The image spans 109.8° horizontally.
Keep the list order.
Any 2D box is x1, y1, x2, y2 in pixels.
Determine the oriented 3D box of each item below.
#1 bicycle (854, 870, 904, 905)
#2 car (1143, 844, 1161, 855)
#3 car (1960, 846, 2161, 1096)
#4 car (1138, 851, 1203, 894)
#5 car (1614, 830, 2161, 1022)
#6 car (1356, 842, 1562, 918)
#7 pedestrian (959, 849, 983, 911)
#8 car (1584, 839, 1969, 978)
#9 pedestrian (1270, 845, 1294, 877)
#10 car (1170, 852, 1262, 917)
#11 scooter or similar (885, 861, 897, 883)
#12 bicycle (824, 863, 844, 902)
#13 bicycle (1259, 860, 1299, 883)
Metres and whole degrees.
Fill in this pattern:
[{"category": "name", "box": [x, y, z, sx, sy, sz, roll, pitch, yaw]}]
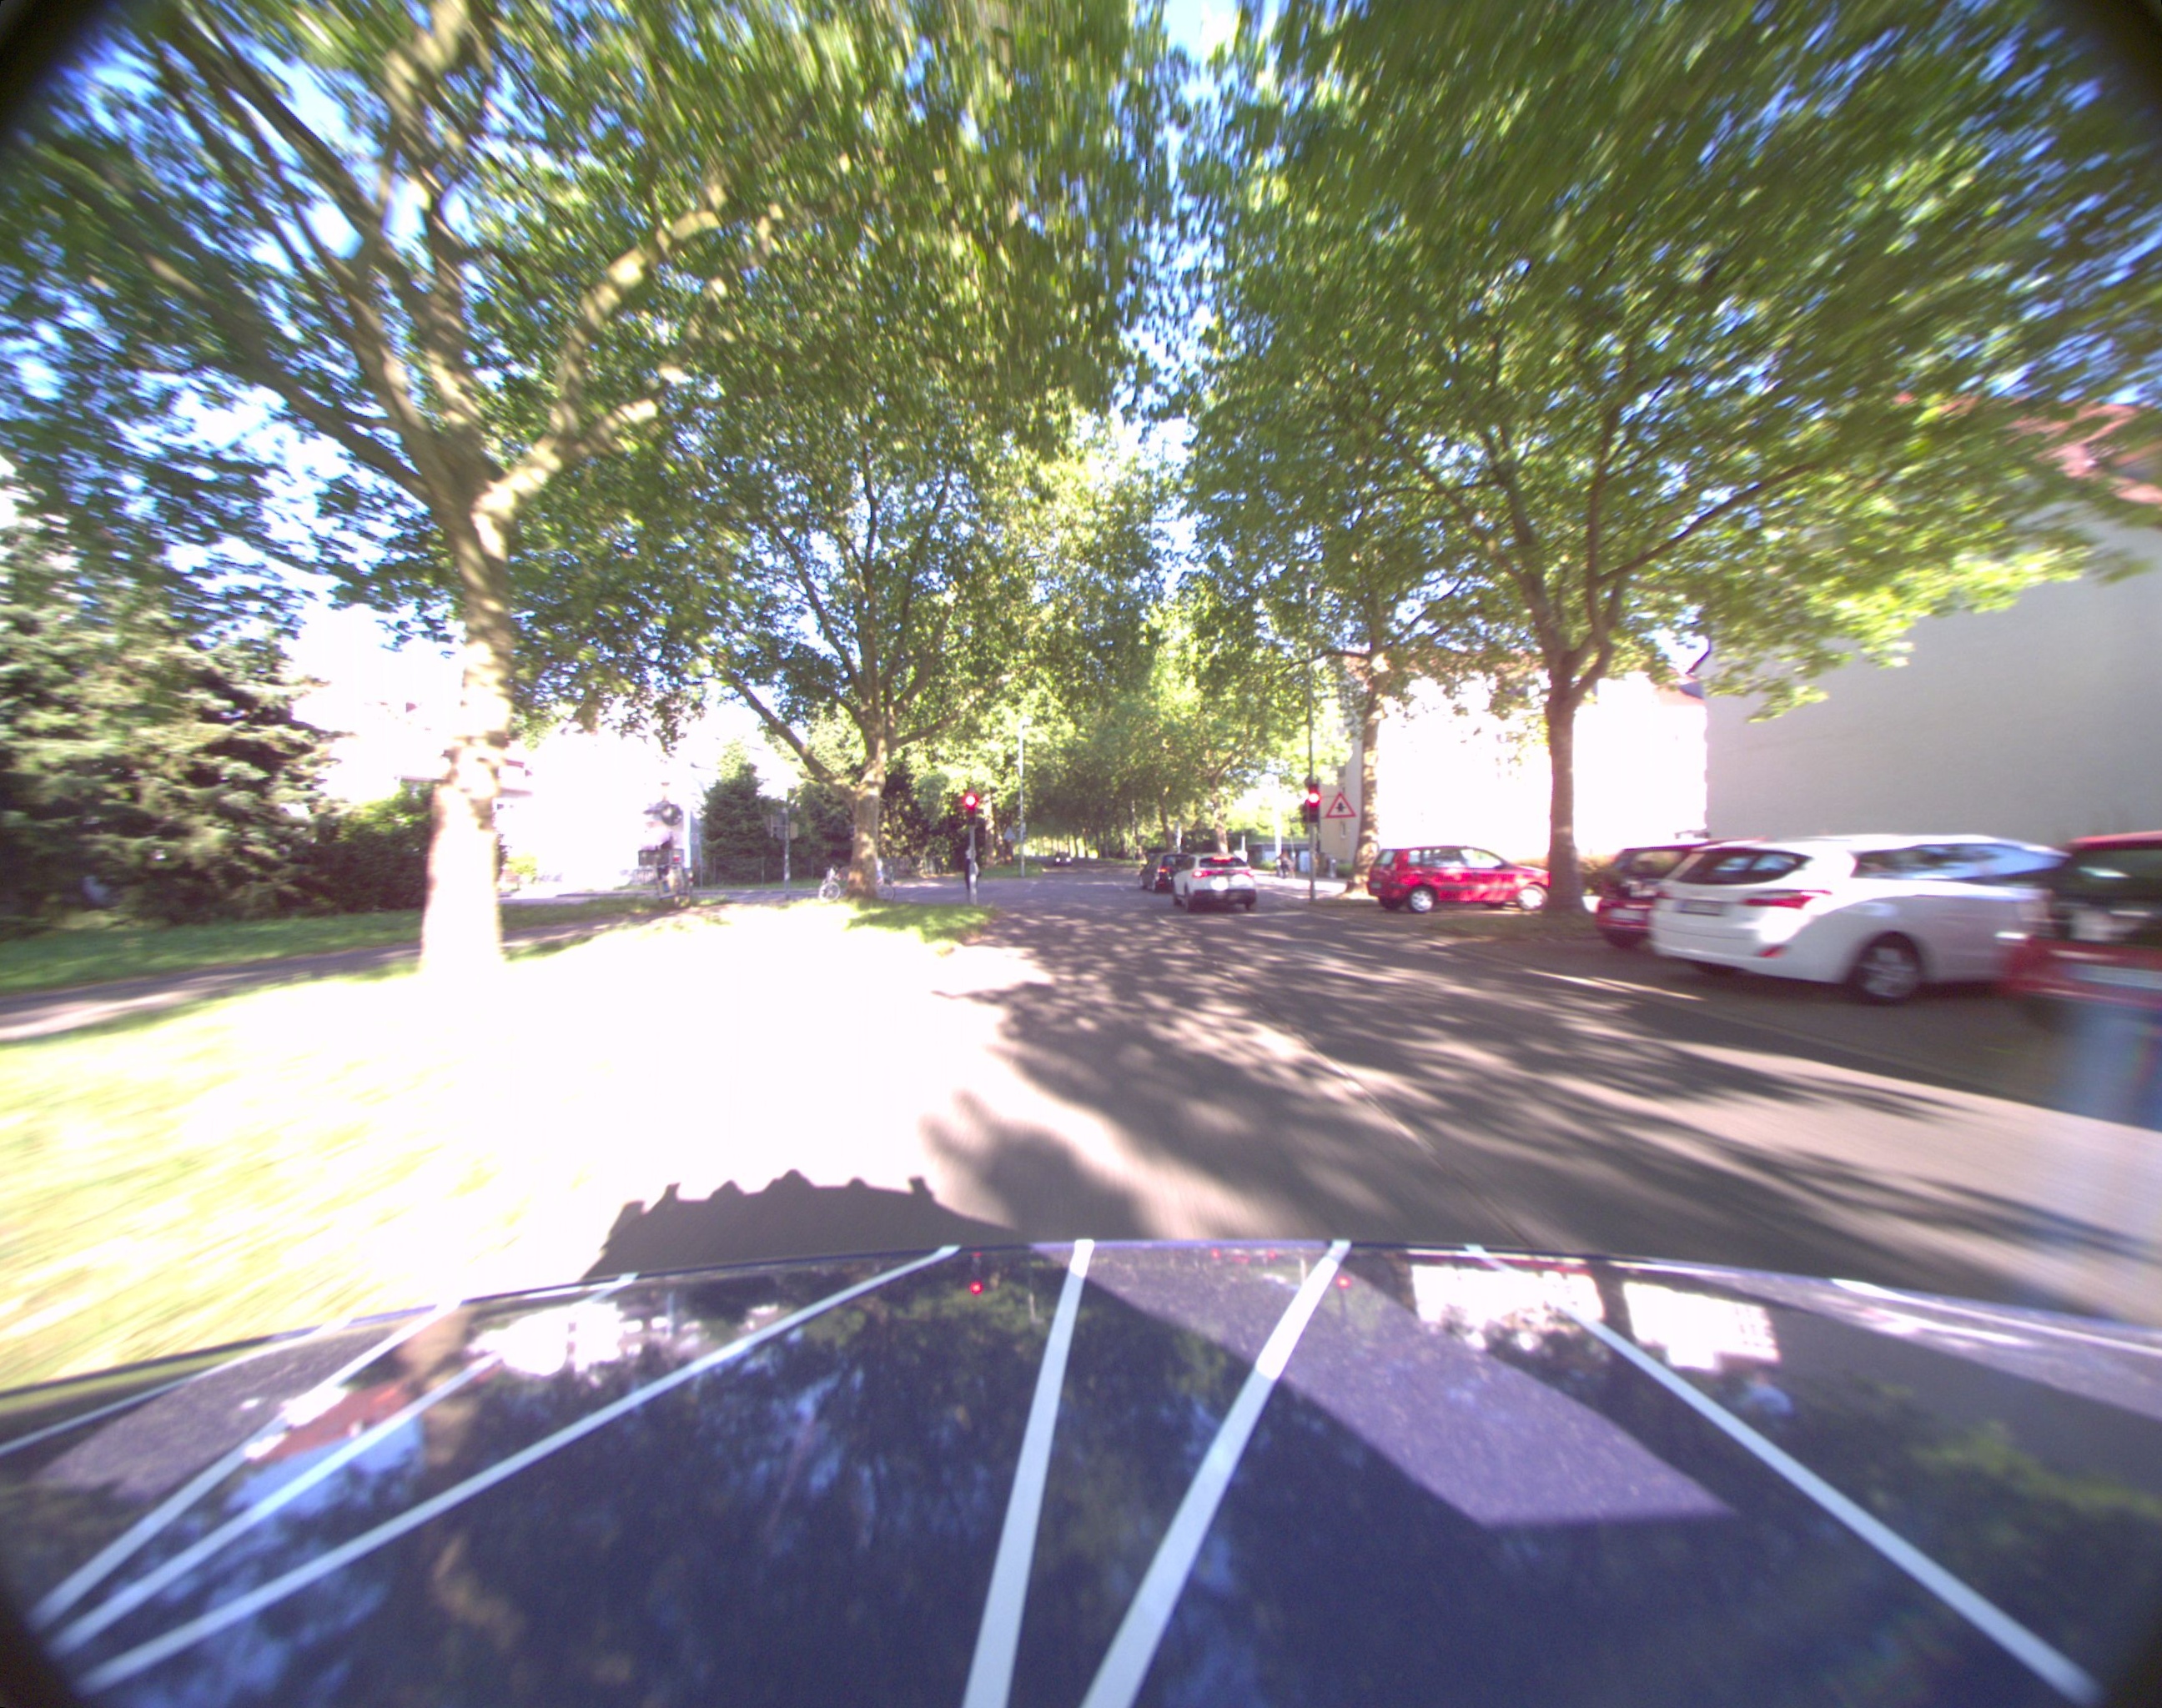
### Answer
[{"category": "bicycle", "box": [-6.114, 0.999, 22.973, 1.715, 1.028, 0.447, -1, -2, 35]}, {"category": "car", "box": [9.676, -0.592, 104.235, 1.814, 1.521, 3.998, -1, 0, -4]}, {"category": "car", "box": [8.379, 0.676, 4.740, 3.768, 1.475, 1.754, -1, 1, 0]}, {"category": "car", "box": [3.316, 0.636, 28.957, 1.731, 1.455, 4.066, -1, 1, -4]}, {"category": "car", "box": [7.915, 0.593, 7.385, 4.173, 1.492, 1.875, -2, 1, -2]}, {"category": "car", "box": [8.489, 0.548, 17.279, 3.774, 1.526, 1.831, -2, 1, -2]}, {"category": "pedestrian", "box": [-3.112, 0.713, 21.539, 0.636, 1.709, 0.825, 1, 0, -8]}, {"category": "car", "box": [8.605, 0.618, 9.616, 3.348, 1.471, 1.695, -2, 1, -2]}, {"category": "pedestrian", "box": [9.848, 0.354, 37.284, 0.511, 1.523, 1.031, -1, 3, -31]}, {"category": "car", "box": [3.461, 0.721, 20.188, 1.721, 1.492, 4.093, -2, 1, 0]}, {"category": "scooter or similar", "box": [-10.297, 0.969, 41.205, 0.383, 1.189, 1.254, -2, 0, -2]}, {"category": "bicycle", "box": [-7.201, 0.823, 22.114, 0.447, 1.076, 2.004, 1, -1, -20]}, {"category": "bicycle", "box": [9.732, 0.833, 37.387, 0.511, 1.036, 2.147, -2, 2, -31]}]
